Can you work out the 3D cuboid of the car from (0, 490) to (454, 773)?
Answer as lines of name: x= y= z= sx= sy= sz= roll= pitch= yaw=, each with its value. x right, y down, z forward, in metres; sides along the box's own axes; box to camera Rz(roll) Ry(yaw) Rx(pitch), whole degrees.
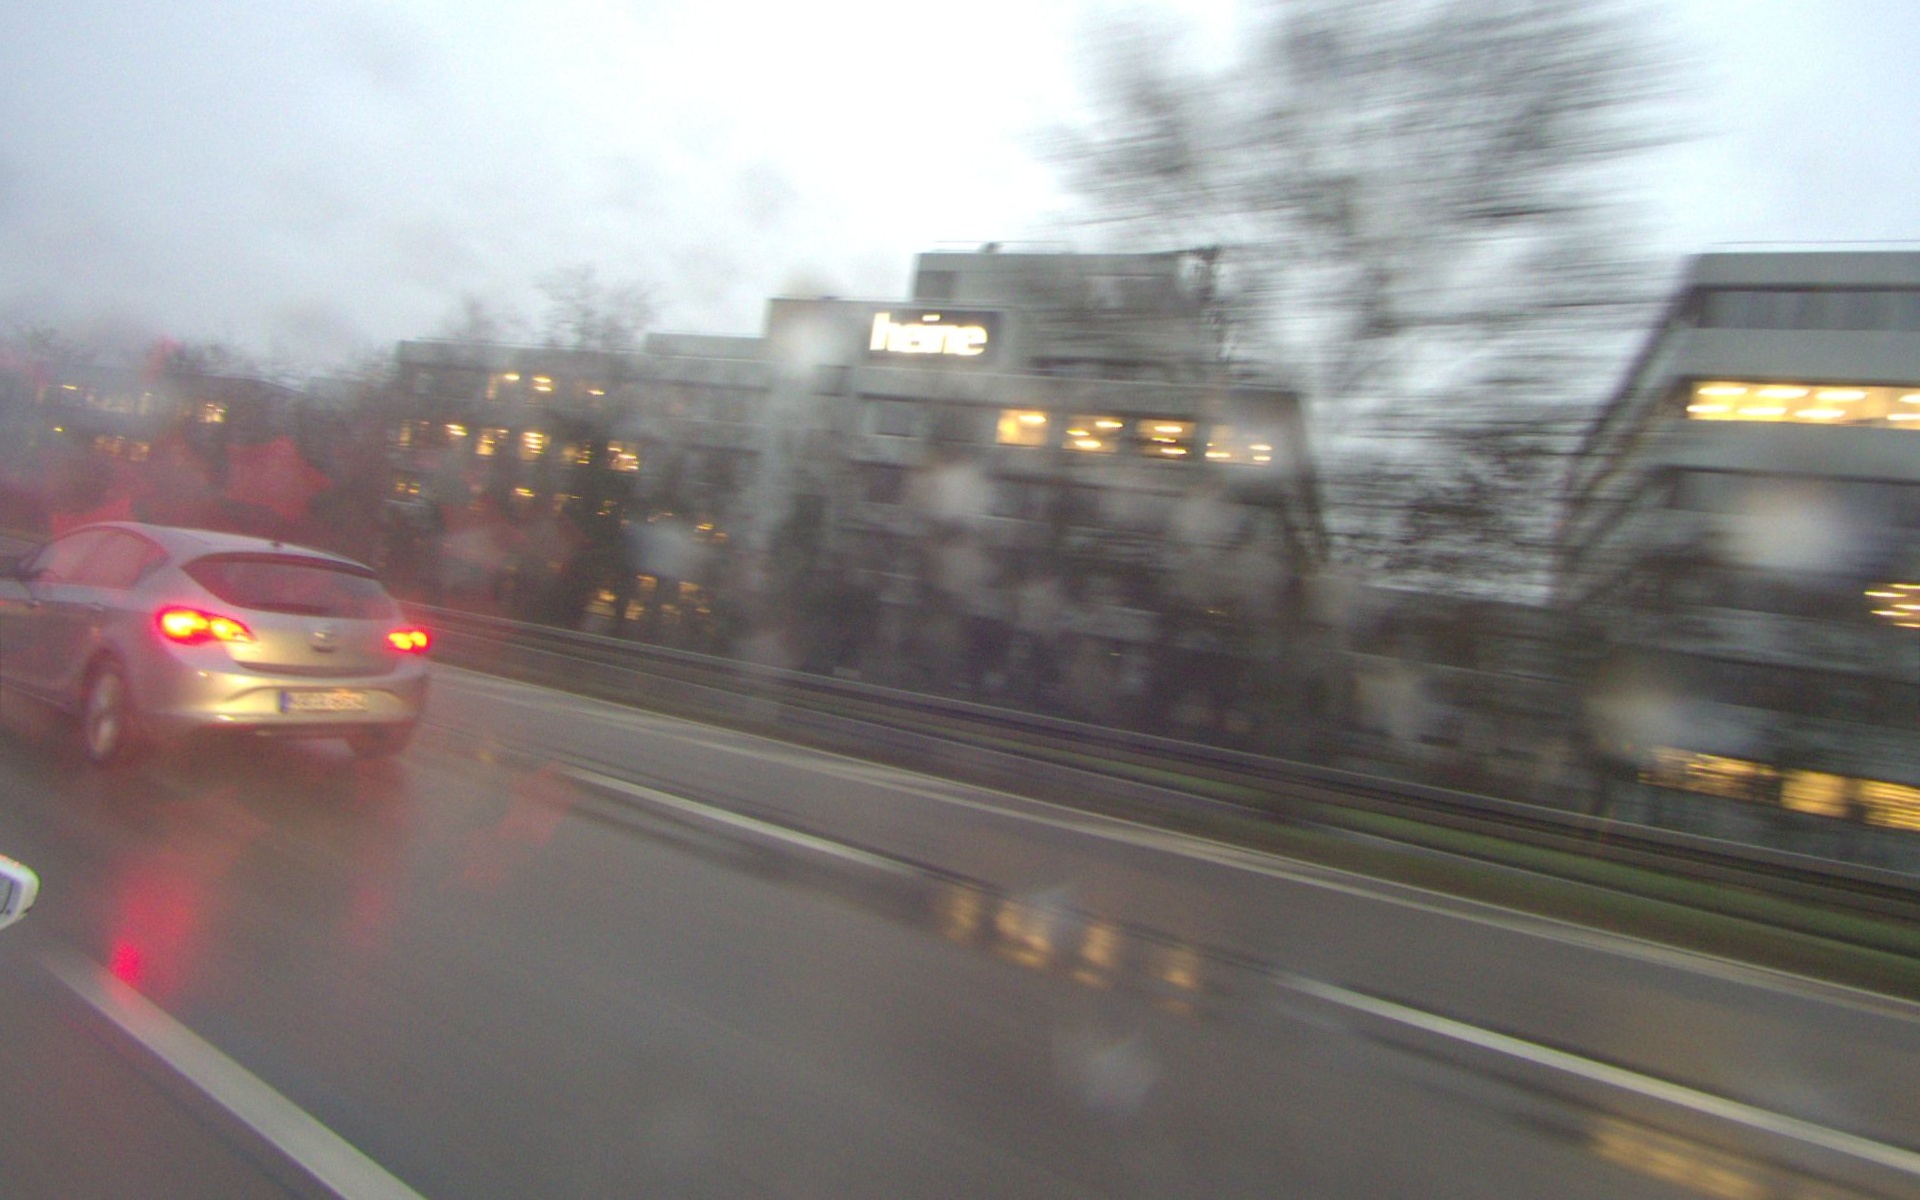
car: x=-6.028 y=0.115 z=7.575 sx=4.190 sy=1.519 sz=1.854 roll=7 pitch=-2 yaw=30
